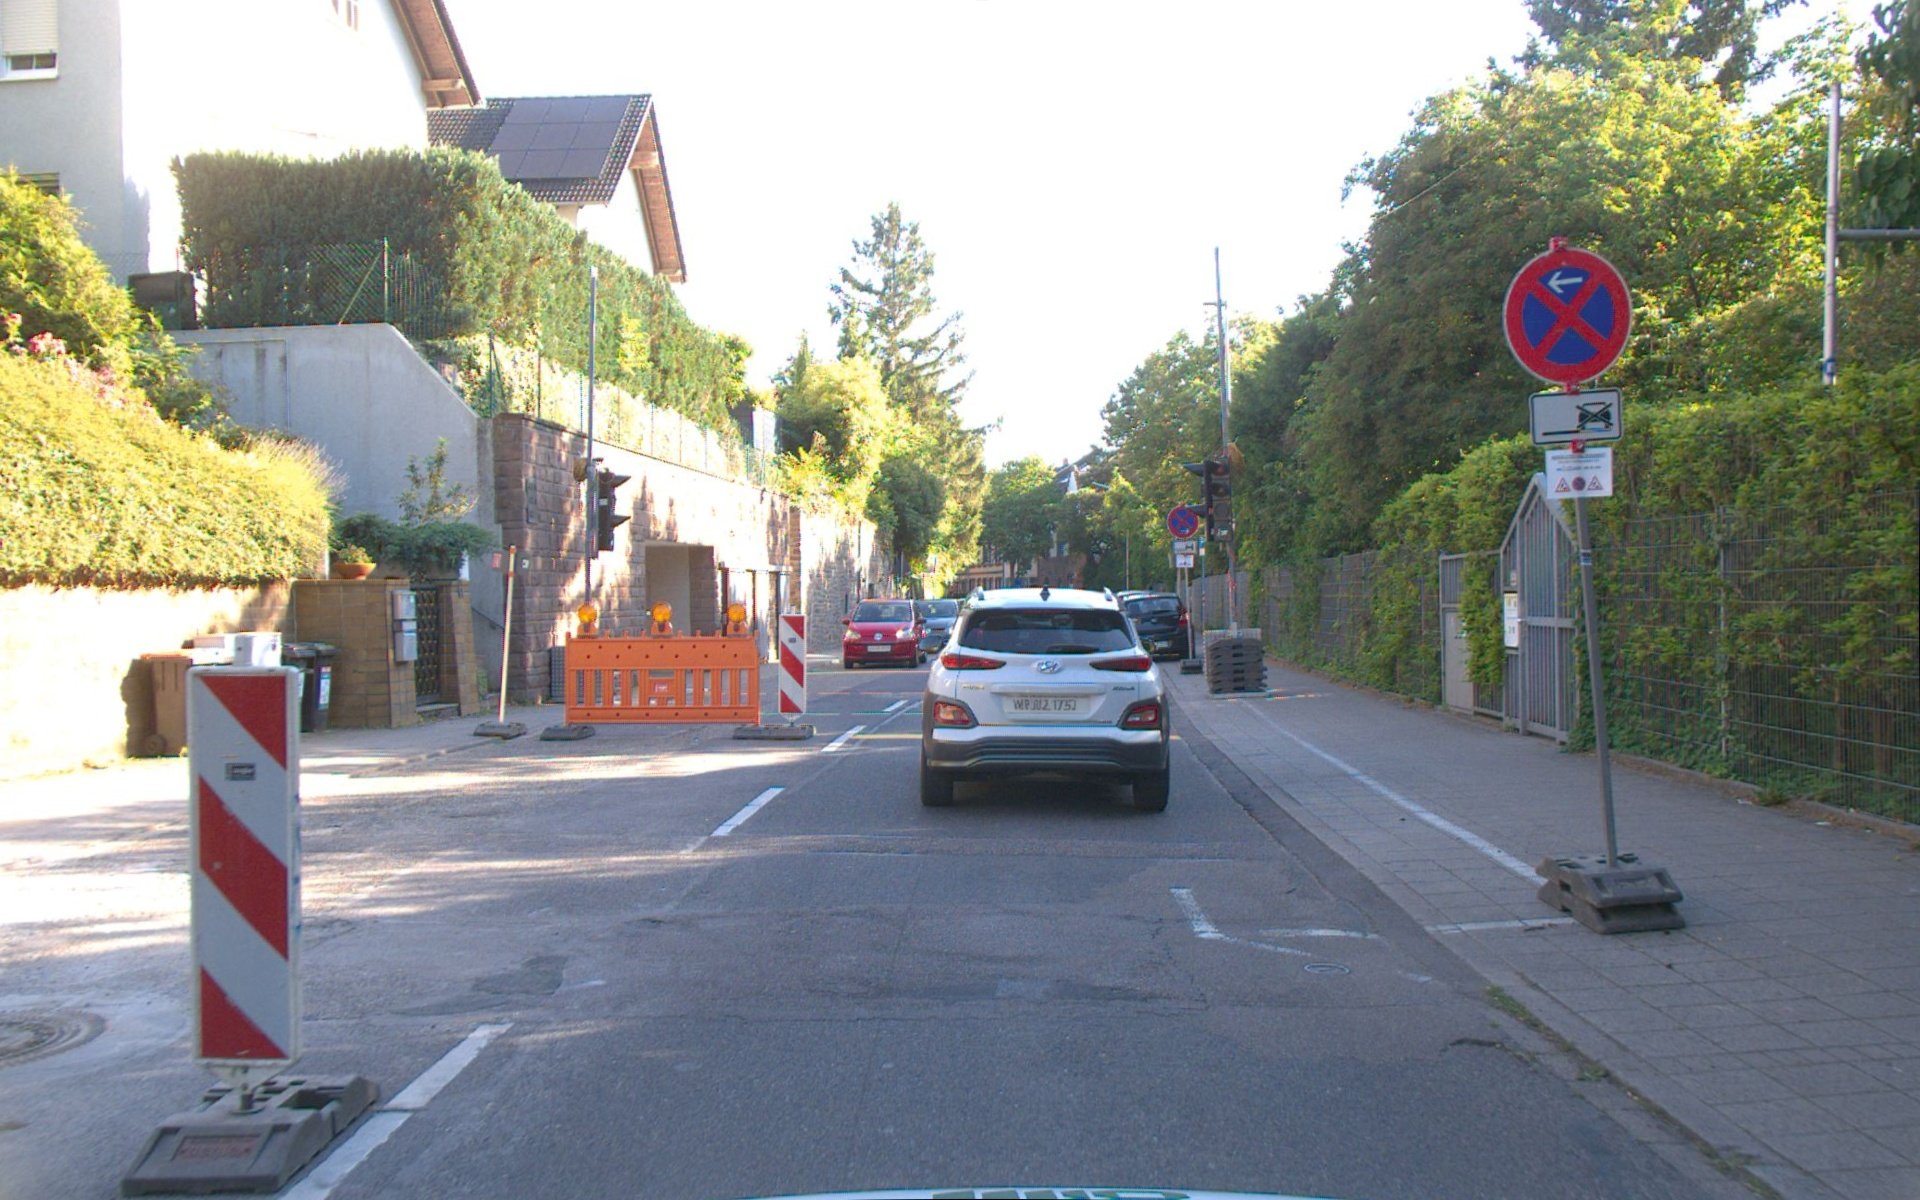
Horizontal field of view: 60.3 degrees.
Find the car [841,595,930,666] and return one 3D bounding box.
[{"bbox_3d":[-1.598,0.647,36.528,1.593,1.446,3.564,-2,0,3],"label":"car"}]

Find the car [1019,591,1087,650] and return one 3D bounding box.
[{"bbox_3d":[2.504,0.519,43.888,1.537,1.503,3.550,0,0,7],"label":"car"}]

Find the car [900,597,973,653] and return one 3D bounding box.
[{"bbox_3d":[-0.610,0.660,45.916,1.614,1.435,3.933,-2,0,4],"label":"car"}]

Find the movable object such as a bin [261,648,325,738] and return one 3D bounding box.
[{"bbox_3d":[-6.905,0.954,17.135,0.446,0.899,0.501,0,0,3],"label":"movable object such as a bin"}]

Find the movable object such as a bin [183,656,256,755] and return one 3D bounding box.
[{"bbox_3d":[-6.974,0.989,15.592,0.446,0.899,0.501,0,0,3],"label":"movable object such as a bin"}]

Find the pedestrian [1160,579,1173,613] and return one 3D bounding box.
[{"bbox_3d":[9.708,-0.189,77.761,0.492,1.596,0.504,-3,-1,5],"label":"pedestrian"}]

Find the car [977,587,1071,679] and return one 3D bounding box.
[{"bbox_3d":[1.228,0.550,30.348,1.480,1.560,3.550,-1,0,6],"label":"car"}]

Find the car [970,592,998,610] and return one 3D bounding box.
[{"bbox_3d":[2.177,0.062,152.876,1.725,1.645,3.988,0,1,-12],"label":"car"}]

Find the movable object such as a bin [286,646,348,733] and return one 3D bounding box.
[{"bbox_3d":[-6.869,0.948,17.673,0.446,0.899,0.501,0,0,3],"label":"movable object such as a bin"}]

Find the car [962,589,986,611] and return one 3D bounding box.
[{"bbox_3d":[1.091,0.014,130.675,1.706,1.500,3.998,-4,-1,-2],"label":"car"}]

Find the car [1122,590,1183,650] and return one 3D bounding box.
[{"bbox_3d":[5.489,0.559,47.108,1.618,1.591,2.874,2,0,7],"label":"car"}]

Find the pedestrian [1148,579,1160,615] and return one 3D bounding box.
[{"bbox_3d":[9.140,-0.134,77.888,0.492,1.634,0.491,-3,-1,5],"label":"pedestrian"}]

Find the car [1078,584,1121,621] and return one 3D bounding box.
[{"bbox_3d":[6.256,0.091,73.979,1.658,1.472,3.885,-4,1,7],"label":"car"}]

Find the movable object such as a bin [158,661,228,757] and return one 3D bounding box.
[{"bbox_3d":[-7.009,0.988,15.123,0.444,0.848,0.392,-1,0,3],"label":"movable object such as a bin"}]

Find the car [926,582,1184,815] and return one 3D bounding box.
[{"bbox_3d":[0.652,0.659,13.157,1.736,1.569,4.000,0,0,0],"label":"car"}]

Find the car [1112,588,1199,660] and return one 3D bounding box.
[{"bbox_3d":[4.290,0.503,36.793,1.756,1.466,4.002,-1,0,5],"label":"car"}]

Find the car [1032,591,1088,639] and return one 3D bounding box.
[{"bbox_3d":[3.589,0.527,58.830,1.658,1.560,3.884,2,0,7],"label":"car"}]

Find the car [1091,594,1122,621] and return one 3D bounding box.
[{"bbox_3d":[8.988,0.458,101.603,1.561,1.515,3.602,-3,0,1],"label":"car"}]
